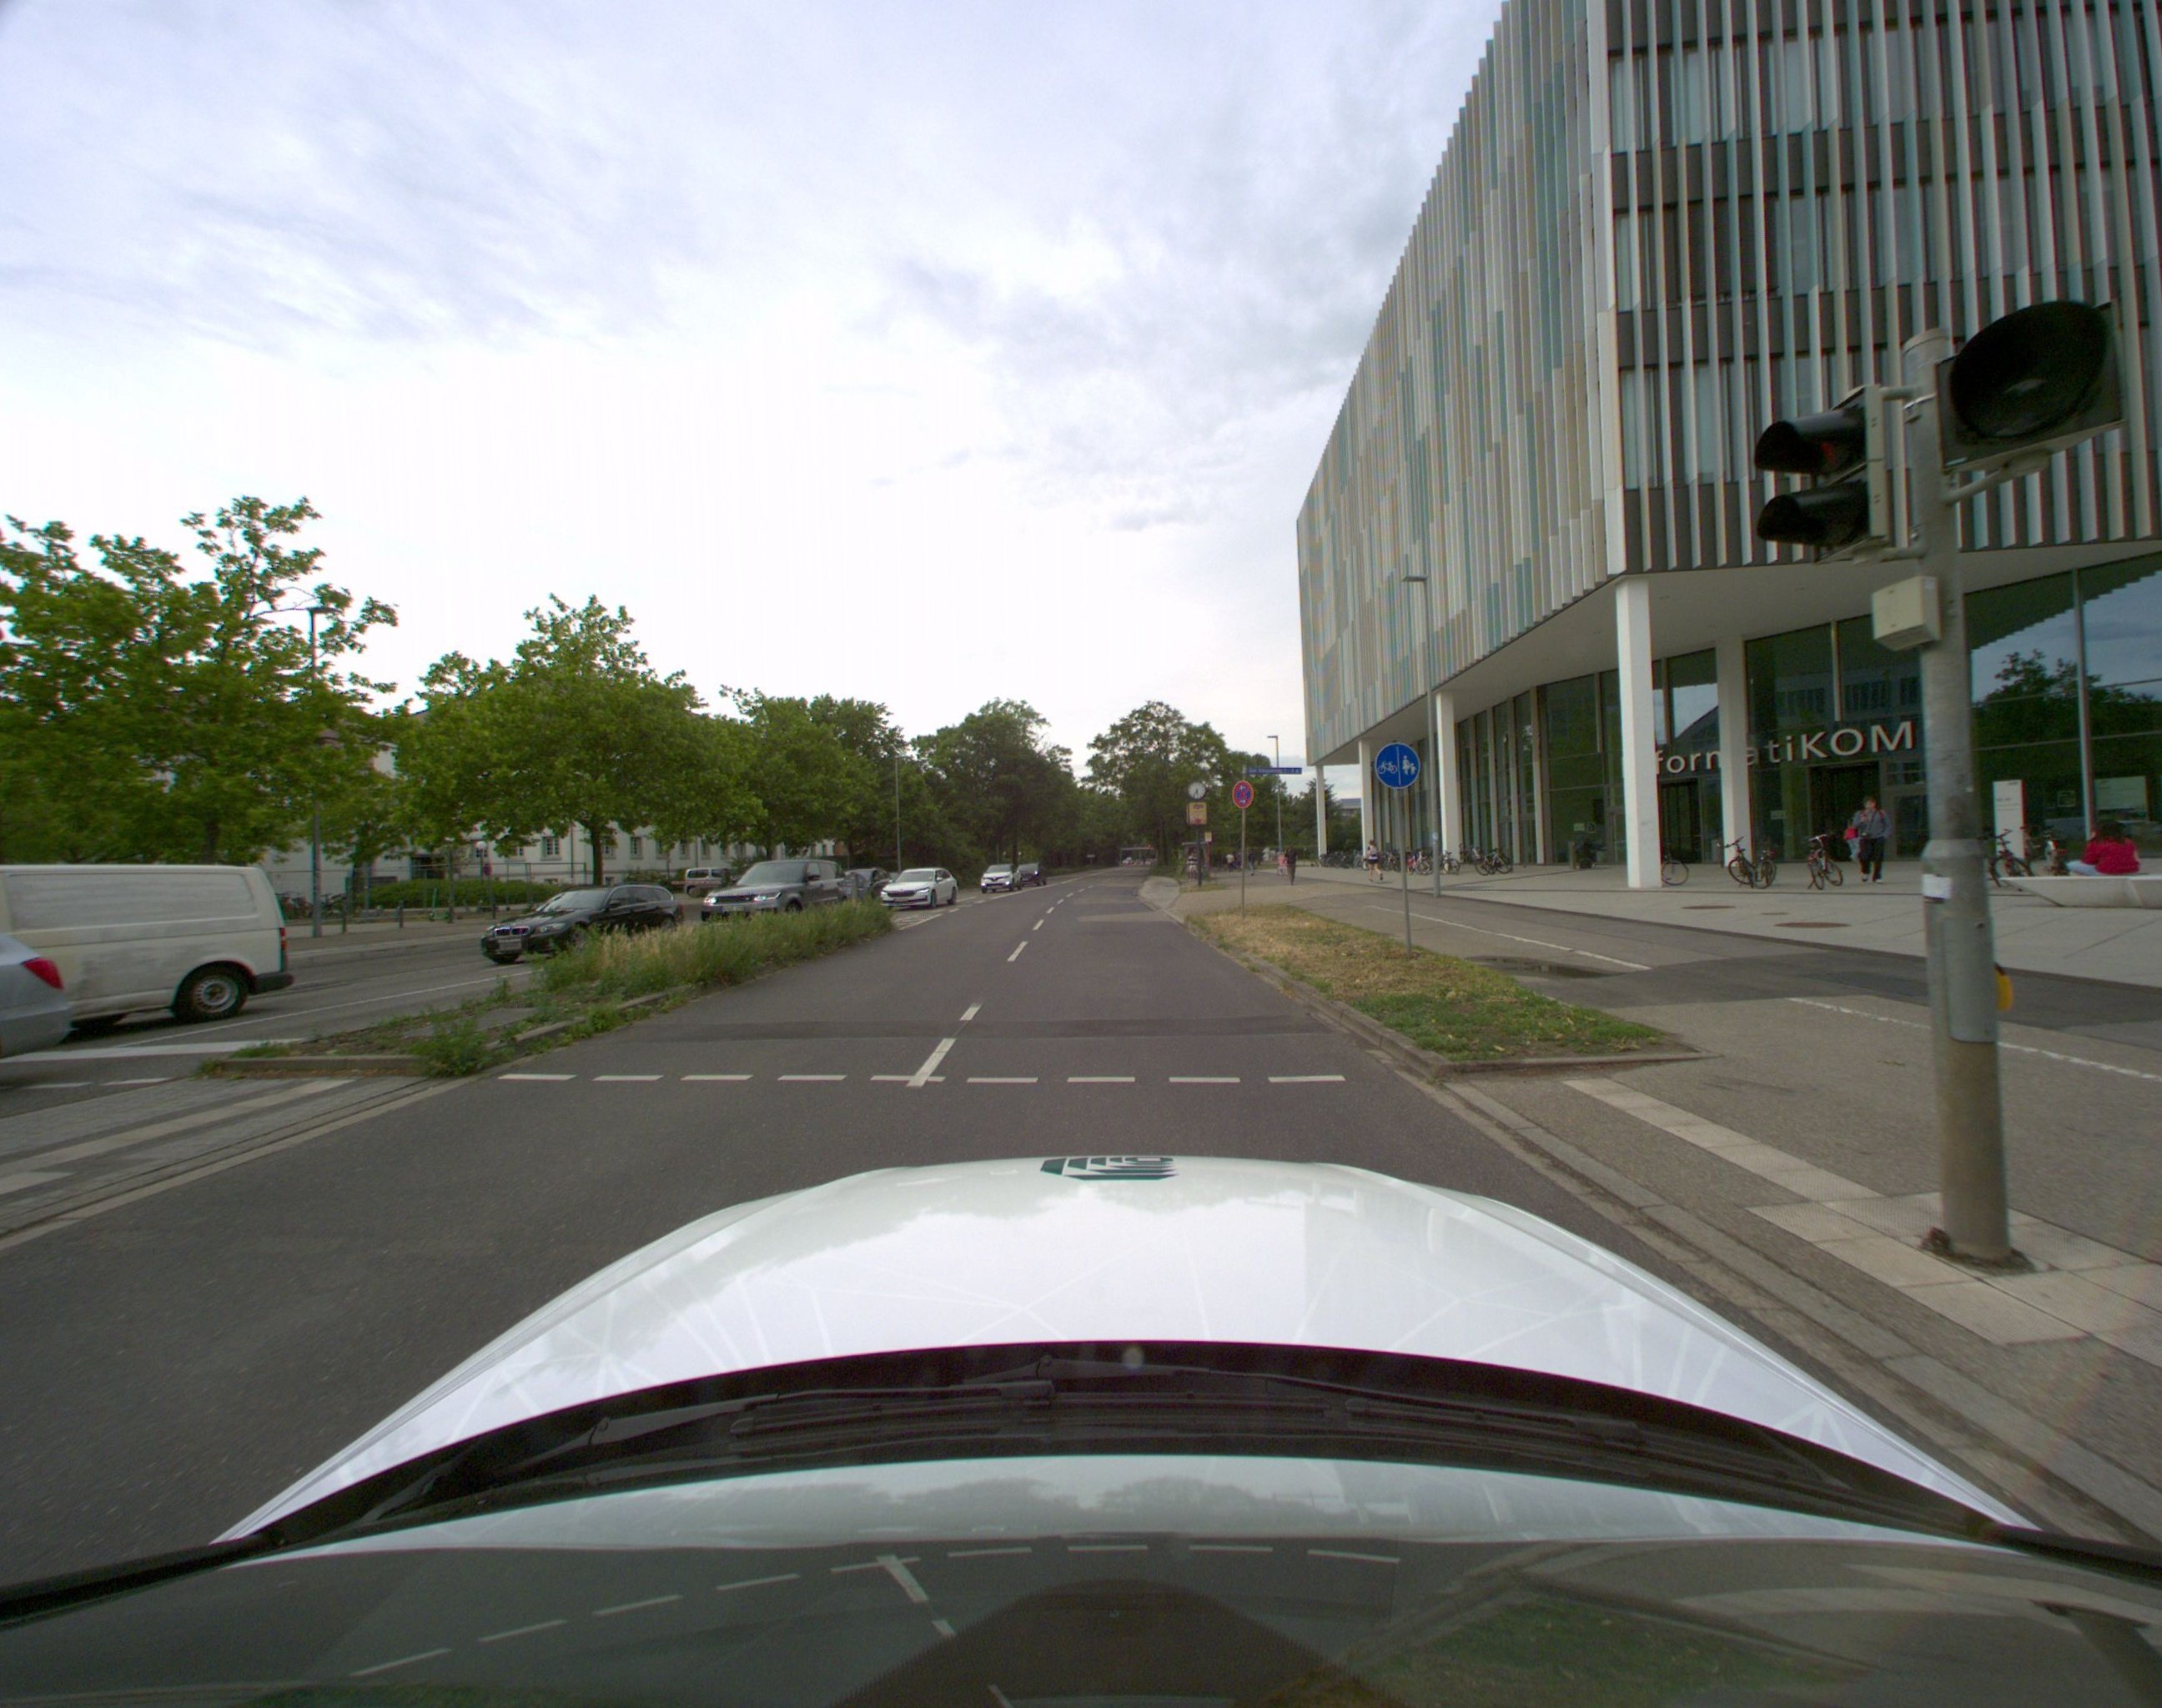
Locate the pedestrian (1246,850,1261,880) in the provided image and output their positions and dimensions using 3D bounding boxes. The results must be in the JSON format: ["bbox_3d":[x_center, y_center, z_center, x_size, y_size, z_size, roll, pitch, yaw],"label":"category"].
[{"bbox_3d":[11.815,0.763,55.916,0.838,2.014,0.896,-2,-1,6],"label":"pedestrian"}]

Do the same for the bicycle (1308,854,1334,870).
[{"bbox_3d":[18.813,0.649,63.878,1.786,1.082,0.627,-5,-1,3],"label":"bicycle"}]

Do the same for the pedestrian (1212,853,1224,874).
[{"bbox_3d":[13.735,0.958,81.764,0.922,2.014,1.040,-3,-1,1],"label":"pedestrian"}]

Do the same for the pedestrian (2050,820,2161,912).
[{"bbox_3d":[14.266,0.168,11.320,0.834,1.206,0.900,-3,-1,40],"label":"pedestrian"}]

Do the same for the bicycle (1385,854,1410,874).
[{"bbox_3d":[17.943,0.558,46.201,1.190,1.050,0.436,-4,-1,12],"label":"bicycle"}]

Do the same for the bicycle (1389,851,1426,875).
[{"bbox_3d":[17.027,0.476,42.505,1.632,1.091,0.574,-5,-2,14],"label":"bicycle"}]

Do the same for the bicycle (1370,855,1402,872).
[{"bbox_3d":[18.163,0.545,48.515,1.680,0.947,0.518,-3,-1,12],"label":"bicycle"}]

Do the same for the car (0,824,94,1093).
[{"bbox_3d":[-9.249,0.807,4.725,1.984,2.014,4.006,-3,-1,5],"label":"car"}]

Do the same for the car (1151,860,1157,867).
[{"bbox_3d":[22.674,2.899,252.866,1.834,2.014,4.006,-1,-1,6],"label":"car"}]

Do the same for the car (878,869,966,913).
[{"bbox_3d":[-5.867,1.323,30.629,1.894,1.465,4.918,-1,-1,6],"label":"car"}]

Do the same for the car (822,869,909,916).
[{"bbox_3d":[-8.816,1.533,33.711,1.984,1.694,4.475,-3,-1,6],"label":"car"}]

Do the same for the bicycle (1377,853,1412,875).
[{"bbox_3d":[17.383,0.542,45.210,1.634,1.102,0.573,-4,-1,8],"label":"bicycle"}]

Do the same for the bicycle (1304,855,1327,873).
[{"bbox_3d":[18.928,0.777,65.653,1.634,1.333,0.465,-5,-2,18],"label":"bicycle"}]

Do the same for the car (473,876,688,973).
[{"bbox_3d":[-10.261,1.364,17.106,1.690,1.689,4.006,-3,-1,6],"label":"car"}]

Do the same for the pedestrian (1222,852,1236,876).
[{"bbox_3d":[12.990,0.855,71.431,0.922,2.014,1.040,-3,-1,1],"label":"pedestrian"}]

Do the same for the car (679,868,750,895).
[{"bbox_3d":[-22.339,1.671,49.711,3.570,1.602,1.653,0,-1,3],"label":"car"}]

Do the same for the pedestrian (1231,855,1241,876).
[{"bbox_3d":[15.475,1.118,81.313,0.820,2.014,0.721,-3,-1,5],"label":"pedestrian"}]

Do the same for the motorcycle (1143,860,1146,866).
[{"bbox_3d":[20.049,2.953,256.632,0.985,1.936,2.673,-1,-1,6],"label":"motorcycle"}]

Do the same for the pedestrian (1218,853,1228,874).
[{"bbox_3d":[14.206,0.963,81.300,0.821,2.014,0.720,-3,-1,1],"label":"pedestrian"}]

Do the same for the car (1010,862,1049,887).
[{"bbox_3d":[-3.466,1.365,55.563,1.893,1.593,4.523,-3,-1,6],"label":"car"}]

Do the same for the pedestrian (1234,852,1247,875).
[{"bbox_3d":[13.948,0.820,71.284,0.922,2.014,1.040,-2,-1,1],"label":"pedestrian"}]

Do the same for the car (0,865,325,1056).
[{"bbox_3d":[-11.311,1.057,8.804,1.762,1.848,4.497,-1,-1,7],"label":"car"}]

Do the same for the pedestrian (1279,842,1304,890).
[{"bbox_3d":[9.223,0.528,35.712,0.838,2.013,0.896,-4,-1,7],"label":"pedestrian"}]

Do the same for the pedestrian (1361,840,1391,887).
[{"bbox_3d":[11.960,0.371,33.033,0.838,1.836,0.895,-2,-1,4],"label":"pedestrian"}]

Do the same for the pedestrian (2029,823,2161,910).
[{"bbox_3d":[14.772,0.179,11.875,0.884,1.193,0.849,-3,-1,19],"label":"pedestrian"}]

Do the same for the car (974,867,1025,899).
[{"bbox_3d":[-4.474,1.585,45.361,1.984,1.547,4.186,-4,-1,5],"label":"car"}]

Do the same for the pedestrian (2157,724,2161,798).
[{"bbox_3d":[7.500,0.130,4.863,0.838,2.014,0.896,-2,-1,7],"label":"pedestrian"}]

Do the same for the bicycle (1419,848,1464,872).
[{"bbox_3d":[18.763,0.325,42.433,0.652,1.144,1.963,-4,-1,-43],"label":"bicycle"}]

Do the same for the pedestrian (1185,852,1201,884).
[{"bbox_3d":[7.380,0.919,53.686,0.908,2.013,0.855,-4,1,4],"label":"pedestrian"}]

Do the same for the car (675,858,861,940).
[{"bbox_3d":[-7.167,0.954,19.321,1.983,1.687,4.957,-1,-1,7],"label":"car"}]

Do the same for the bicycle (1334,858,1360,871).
[{"bbox_3d":[18.668,0.738,57.144,1.595,0.884,0.517,-2,-1,5],"label":"bicycle"}]

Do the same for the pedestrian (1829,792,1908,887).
[{"bbox_3d":[17.735,-0.302,18.377,1.170,2.062,1.142,-1,-1,41],"label":"pedestrian"}]
